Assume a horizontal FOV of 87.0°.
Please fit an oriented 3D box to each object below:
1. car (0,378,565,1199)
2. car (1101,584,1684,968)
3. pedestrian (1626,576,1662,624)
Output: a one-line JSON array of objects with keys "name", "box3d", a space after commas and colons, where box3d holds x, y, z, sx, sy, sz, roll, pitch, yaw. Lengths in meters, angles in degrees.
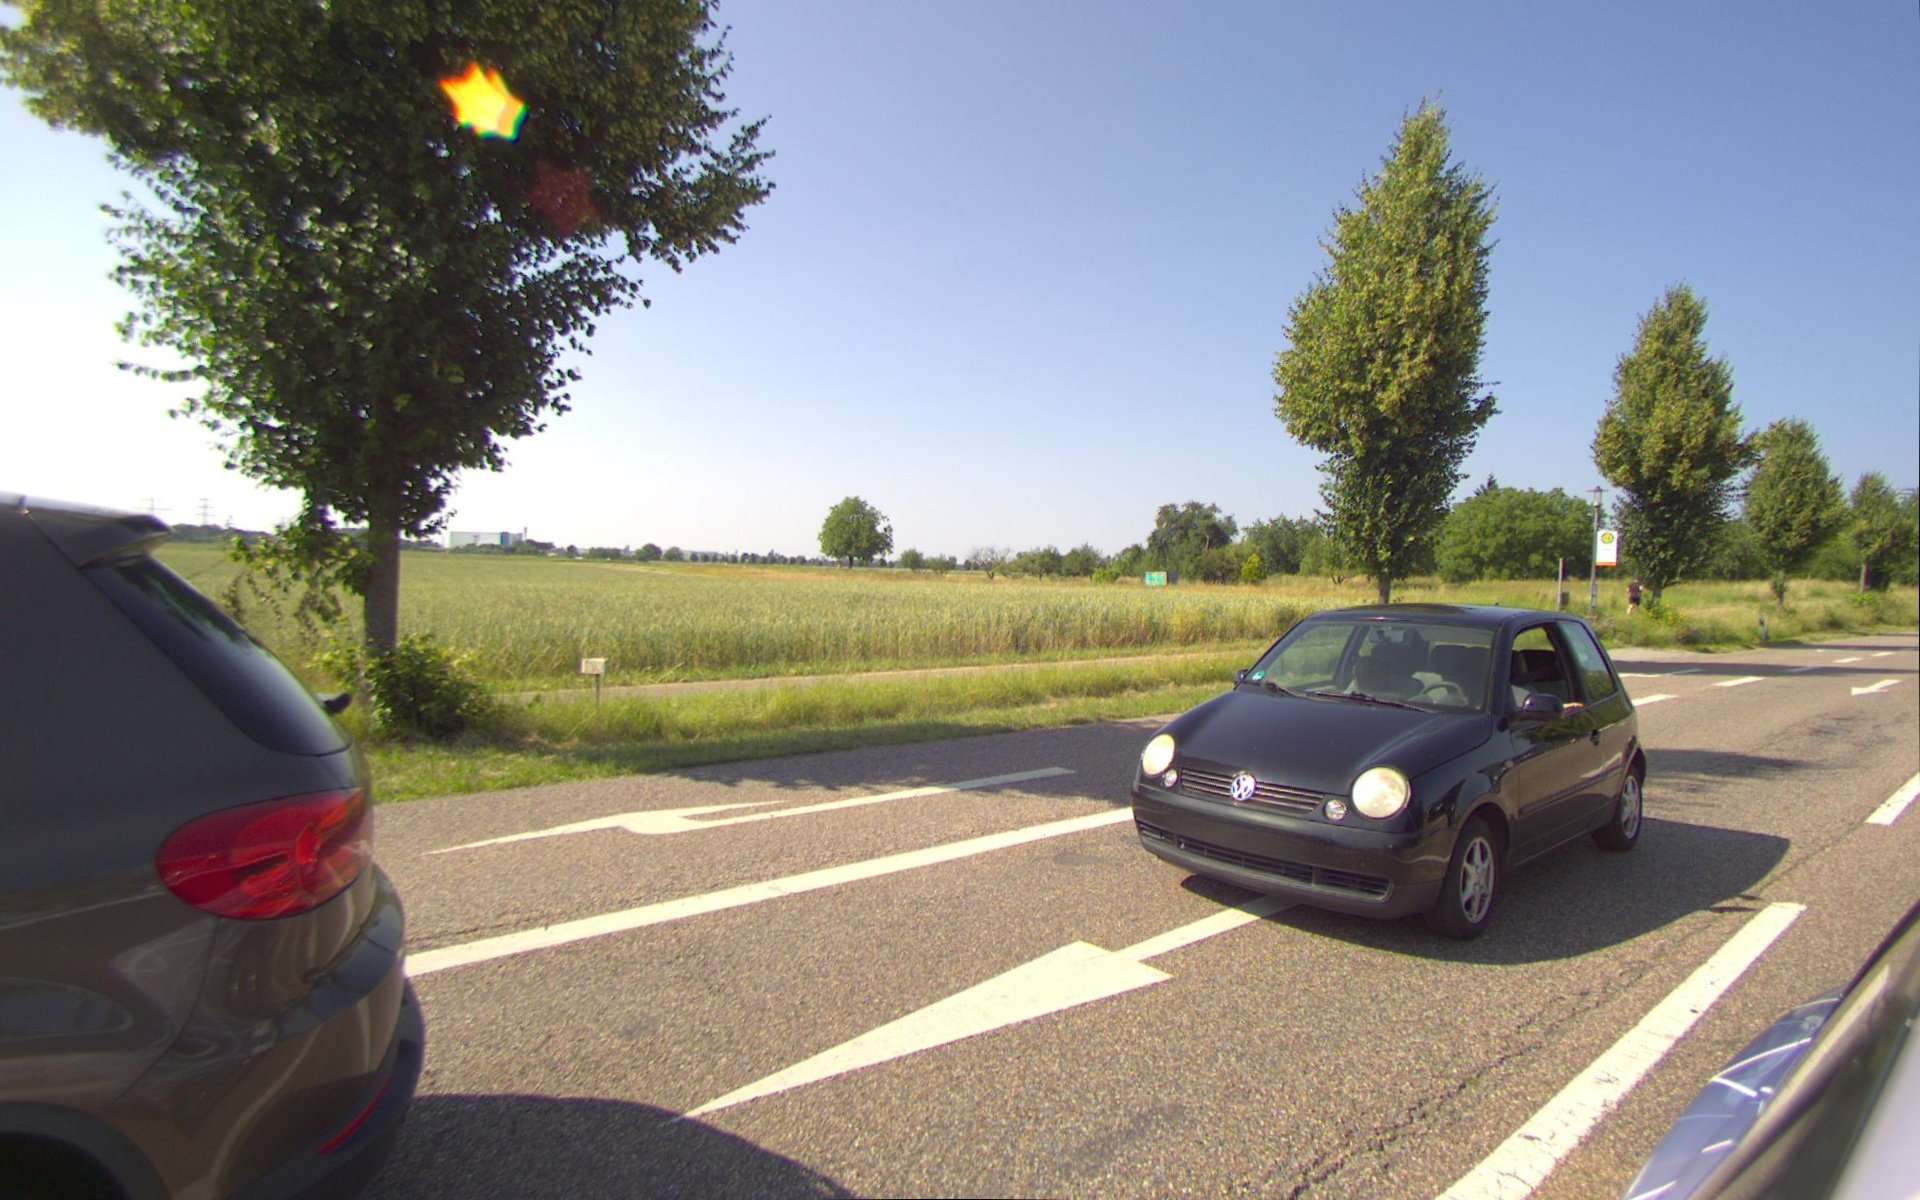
[{"name": "car", "box3d": [-2.787, 0.553, 1.081, 4.075, 1.676, 1.758, 0, 0, -42]}, {"name": "car", "box3d": [2.568, 0.651, 5.625, 3.560, 1.451, 1.628, 0, 1, -42]}, {"name": "pedestrian", "box3d": [27.055, -0.011, 40.016, 1.174, 1.862, 0.903, 0, 2, -43]}]
